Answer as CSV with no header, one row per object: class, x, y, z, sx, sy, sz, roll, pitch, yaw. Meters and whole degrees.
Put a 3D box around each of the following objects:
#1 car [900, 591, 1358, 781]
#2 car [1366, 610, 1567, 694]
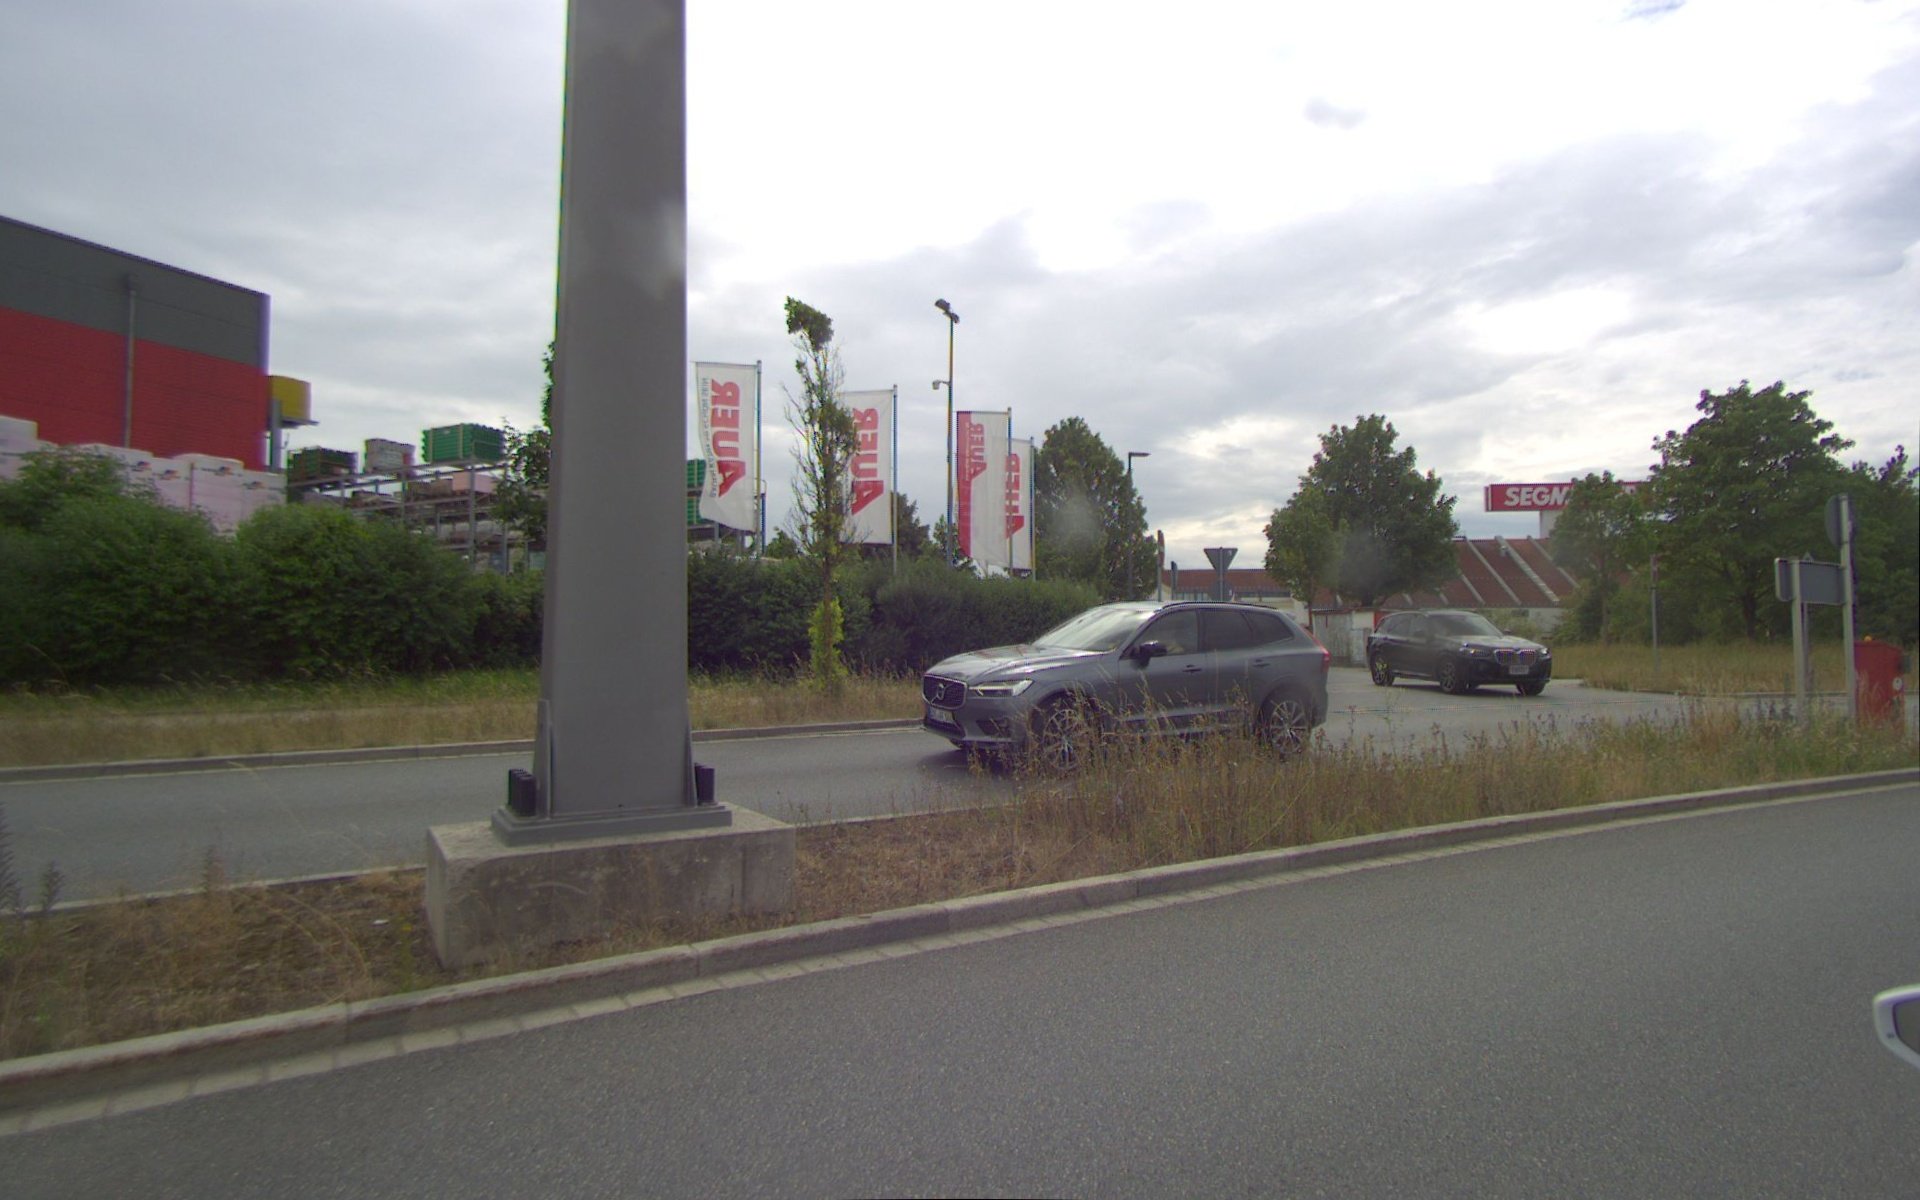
car,1.847,0.793,10.631,4.627,1.651,1.802,1,0,-27
car,10.375,1.031,20.977,1.838,1.570,4.253,1,-1,-4
